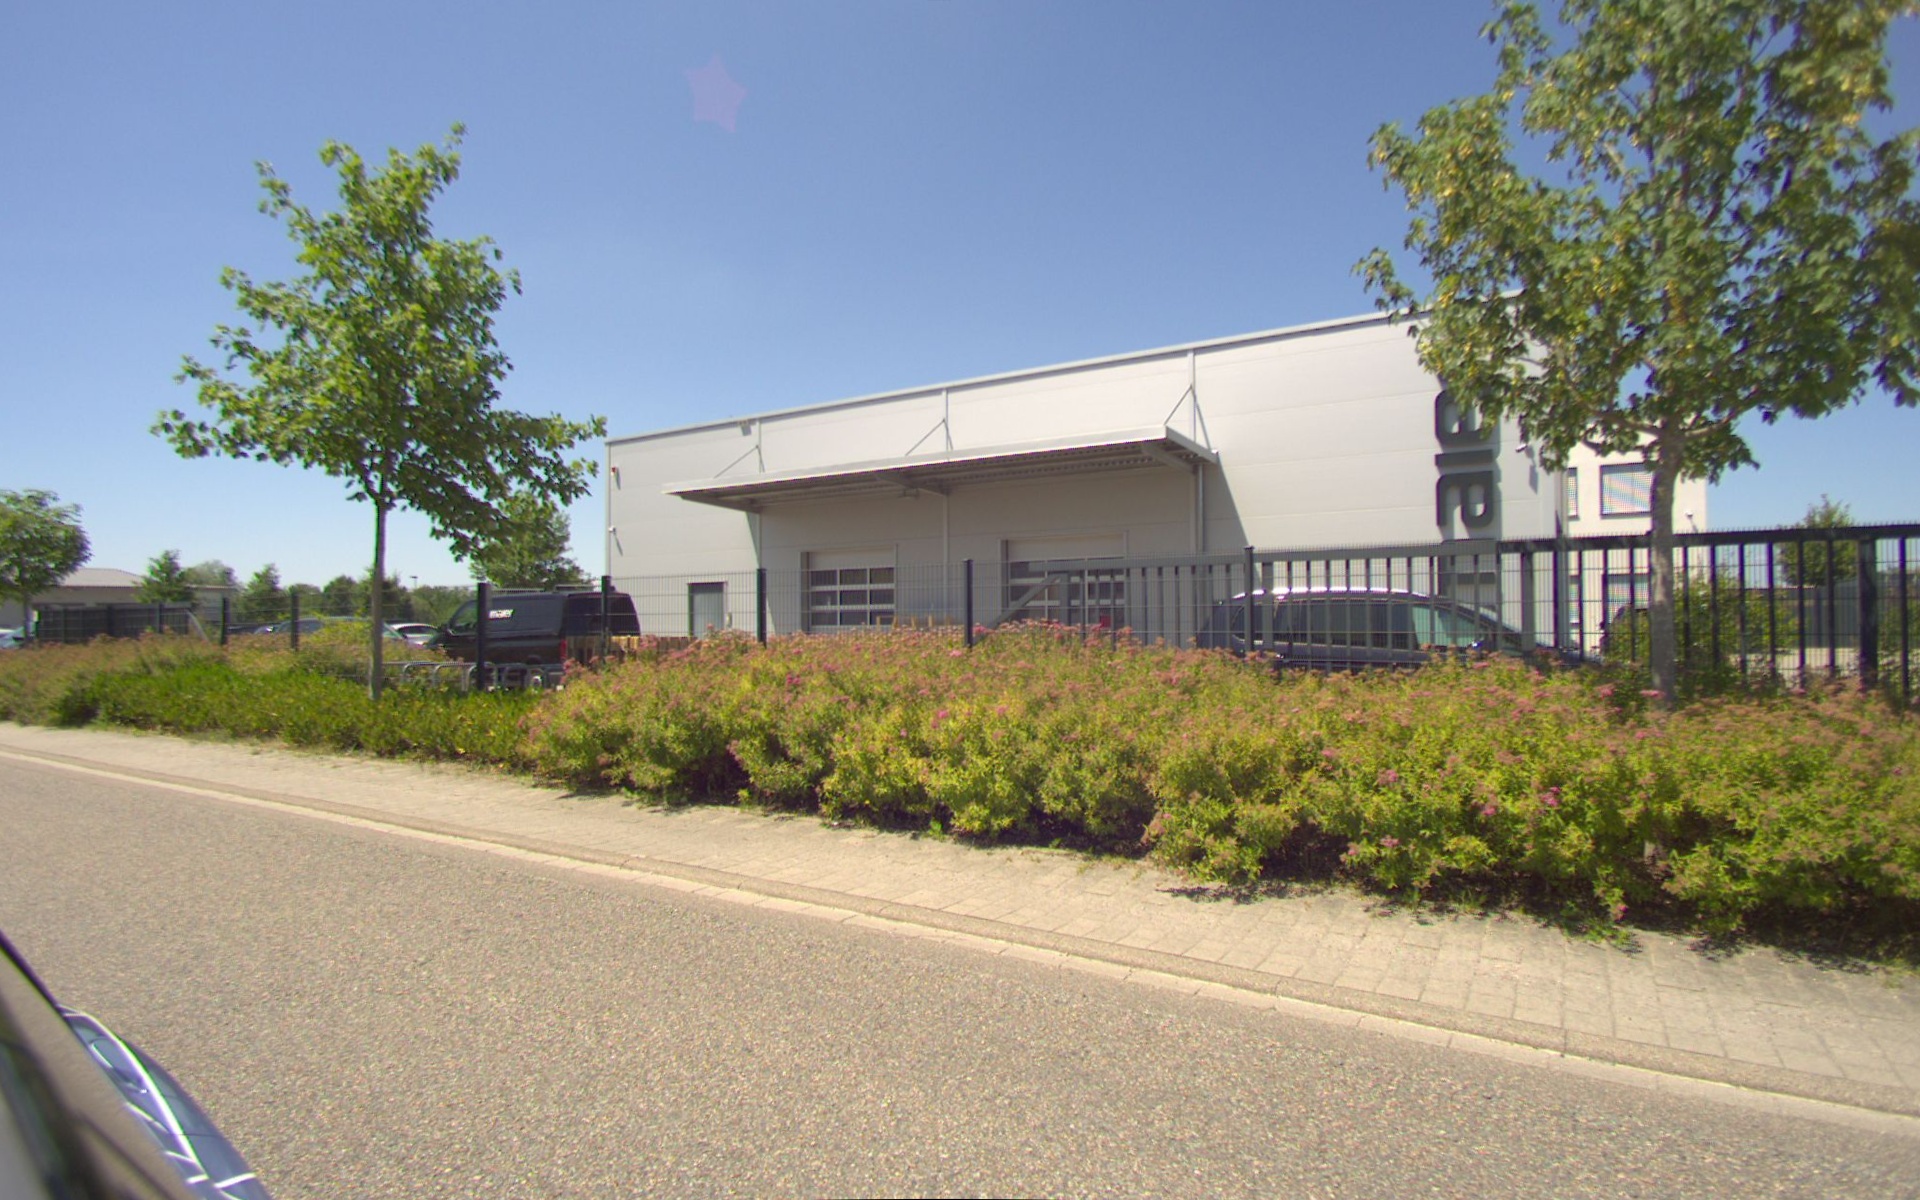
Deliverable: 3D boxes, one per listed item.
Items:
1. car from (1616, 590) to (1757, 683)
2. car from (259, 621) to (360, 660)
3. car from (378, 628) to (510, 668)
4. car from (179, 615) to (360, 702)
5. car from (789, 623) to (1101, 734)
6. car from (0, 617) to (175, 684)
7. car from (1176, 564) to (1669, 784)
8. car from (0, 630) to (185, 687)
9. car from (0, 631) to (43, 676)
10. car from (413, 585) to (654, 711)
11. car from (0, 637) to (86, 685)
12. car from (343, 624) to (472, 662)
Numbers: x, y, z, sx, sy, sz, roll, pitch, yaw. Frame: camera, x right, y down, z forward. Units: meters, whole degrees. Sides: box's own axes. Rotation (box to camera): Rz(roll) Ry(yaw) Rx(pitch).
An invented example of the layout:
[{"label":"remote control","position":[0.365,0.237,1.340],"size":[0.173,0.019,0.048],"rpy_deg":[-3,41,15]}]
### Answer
[{"label":"car","position":[12.628,0.590,17.730],"size":[1.793,1.431,3.825],"rpy_deg":[-1,-1,34]},{"label":"car","position":[-28.358,1.755,44.188],"size":[1.472,1.596,3.445],"rpy_deg":[-2,-1,32]},{"label":"car","position":[-19.513,1.780,38.424],"size":[1.874,1.361,4.076],"rpy_deg":[-2,-1,32]},{"label":"car","position":[-15.230,1.224,22.286],"size":[4.081,1.736,1.977],"rpy_deg":[-2,-1,35]},{"label":"car","position":[-0.271,0.997,13.873],"size":[3.989,1.290,1.781],"rpy_deg":[-2,-1,34]},{"label":"car","position":[-27.661,1.510,31.283],"size":[1.958,1.865,5.021],"rpy_deg":[-2,-1,32]},{"label":"car","position":[4.447,0.634,9.974],"size":[4.081,1.736,1.977],"rpy_deg":[-2,-1,35]},{"label":"car","position":[-25.712,1.666,29.723],"size":[1.958,1.457,4.272],"rpy_deg":[-2,-1,32]},{"label":"car","position":[-36.946,2.025,37.039],"size":[1.994,1.641,4.695],"rpy_deg":[-2,-2,33]},{"label":"car","position":[-8.167,0.851,19.217],"size":[4.682,2.114,1.984],"rpy_deg":[-2,0,35]},{"label":"car","position":[-32.326,2.079,34.591],"size":[1.898,1.510,3.345],"rpy_deg":[-2,-1,32]},{"label":"car","position":[-21.736,1.677,39.965],"size":[1.874,1.361,4.076],"rpy_deg":[-2,-1,32]}]
